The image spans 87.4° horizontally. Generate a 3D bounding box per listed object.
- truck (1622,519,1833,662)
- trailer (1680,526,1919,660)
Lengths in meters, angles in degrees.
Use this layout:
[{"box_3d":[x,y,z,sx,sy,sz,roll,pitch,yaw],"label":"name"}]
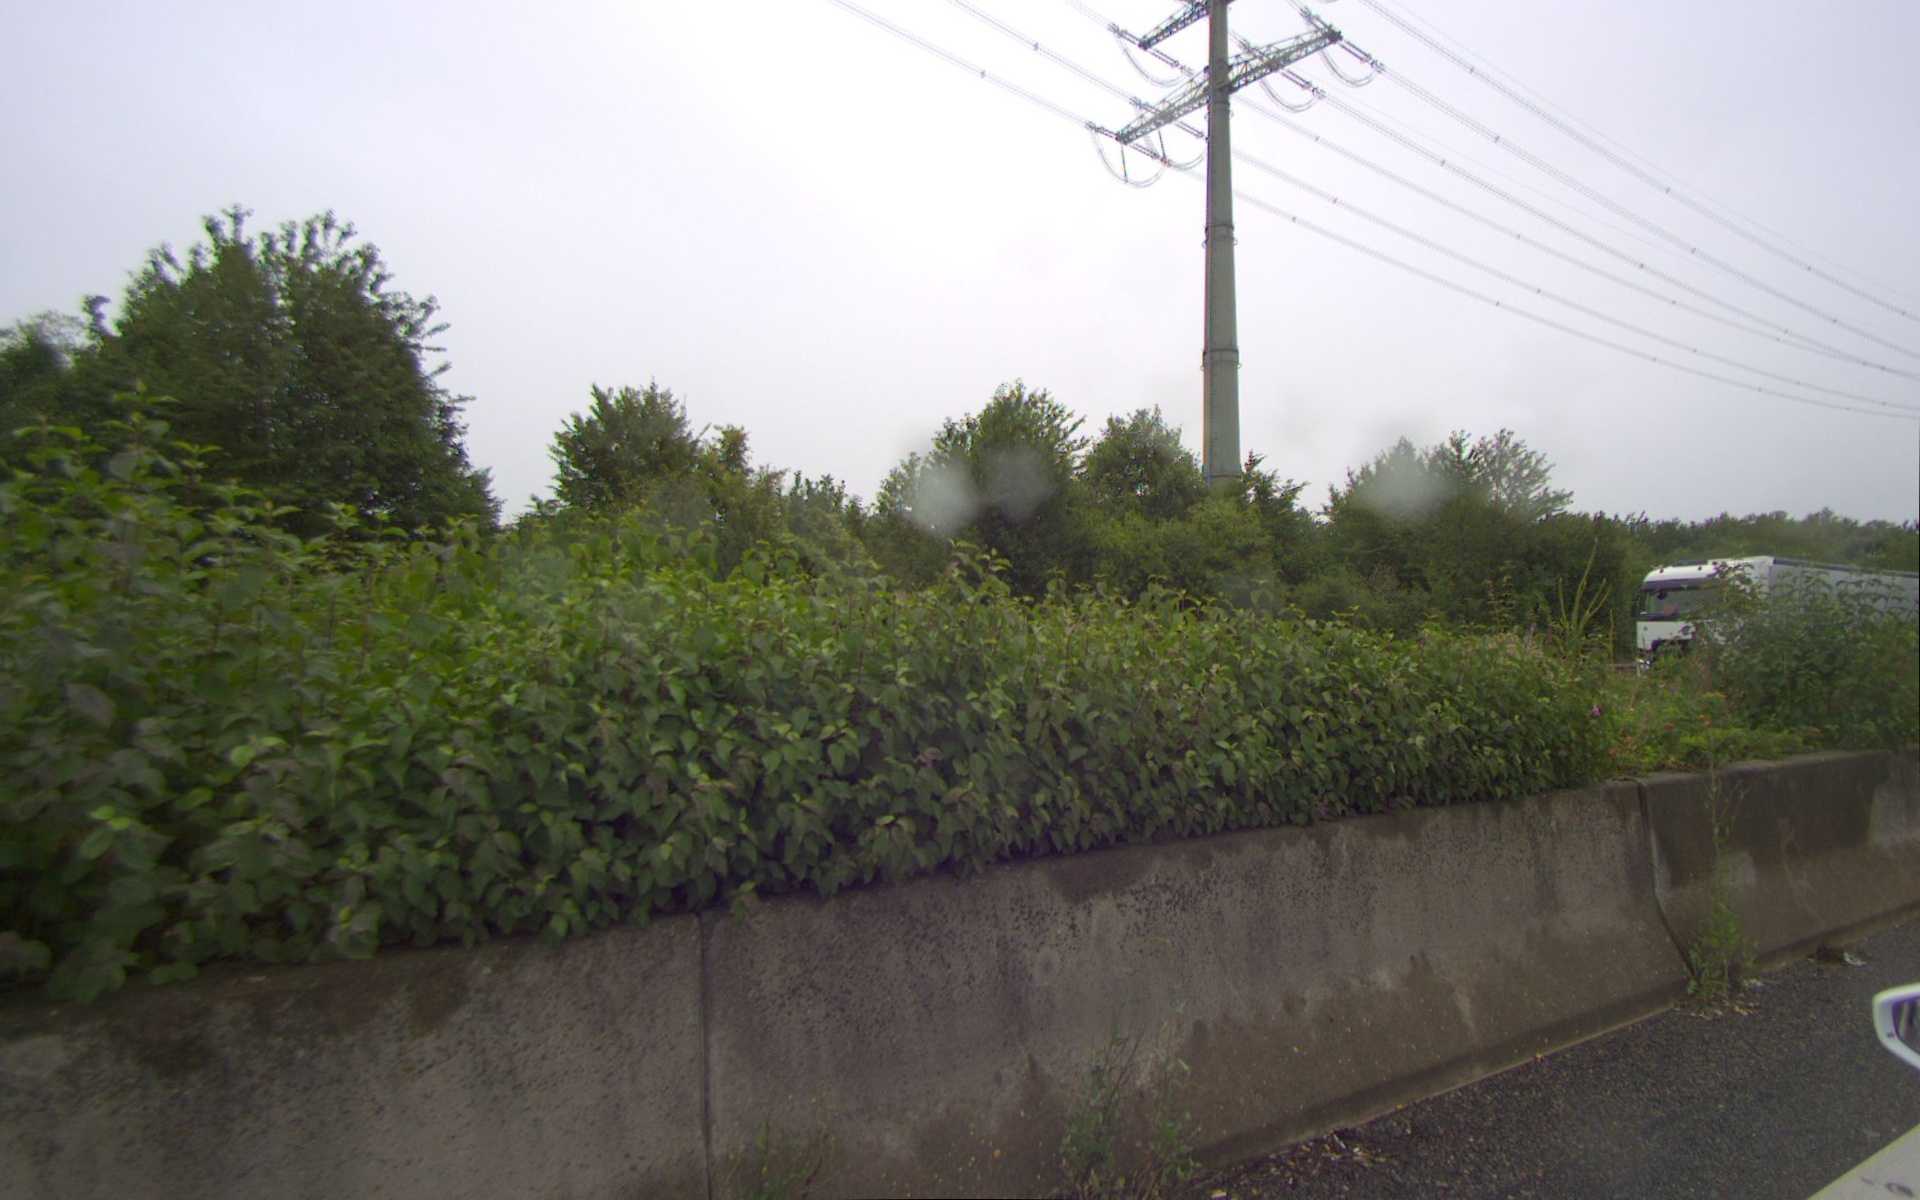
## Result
[{"box_3d":[24.354,-0.123,31.795,7.151,4.076,2.772,1,-4,-31],"label":"truck"},{"box_3d":[30.021,-0.001,35.197,13.100,4.076,2.772,1,-4,-31],"label":"trailer"}]
